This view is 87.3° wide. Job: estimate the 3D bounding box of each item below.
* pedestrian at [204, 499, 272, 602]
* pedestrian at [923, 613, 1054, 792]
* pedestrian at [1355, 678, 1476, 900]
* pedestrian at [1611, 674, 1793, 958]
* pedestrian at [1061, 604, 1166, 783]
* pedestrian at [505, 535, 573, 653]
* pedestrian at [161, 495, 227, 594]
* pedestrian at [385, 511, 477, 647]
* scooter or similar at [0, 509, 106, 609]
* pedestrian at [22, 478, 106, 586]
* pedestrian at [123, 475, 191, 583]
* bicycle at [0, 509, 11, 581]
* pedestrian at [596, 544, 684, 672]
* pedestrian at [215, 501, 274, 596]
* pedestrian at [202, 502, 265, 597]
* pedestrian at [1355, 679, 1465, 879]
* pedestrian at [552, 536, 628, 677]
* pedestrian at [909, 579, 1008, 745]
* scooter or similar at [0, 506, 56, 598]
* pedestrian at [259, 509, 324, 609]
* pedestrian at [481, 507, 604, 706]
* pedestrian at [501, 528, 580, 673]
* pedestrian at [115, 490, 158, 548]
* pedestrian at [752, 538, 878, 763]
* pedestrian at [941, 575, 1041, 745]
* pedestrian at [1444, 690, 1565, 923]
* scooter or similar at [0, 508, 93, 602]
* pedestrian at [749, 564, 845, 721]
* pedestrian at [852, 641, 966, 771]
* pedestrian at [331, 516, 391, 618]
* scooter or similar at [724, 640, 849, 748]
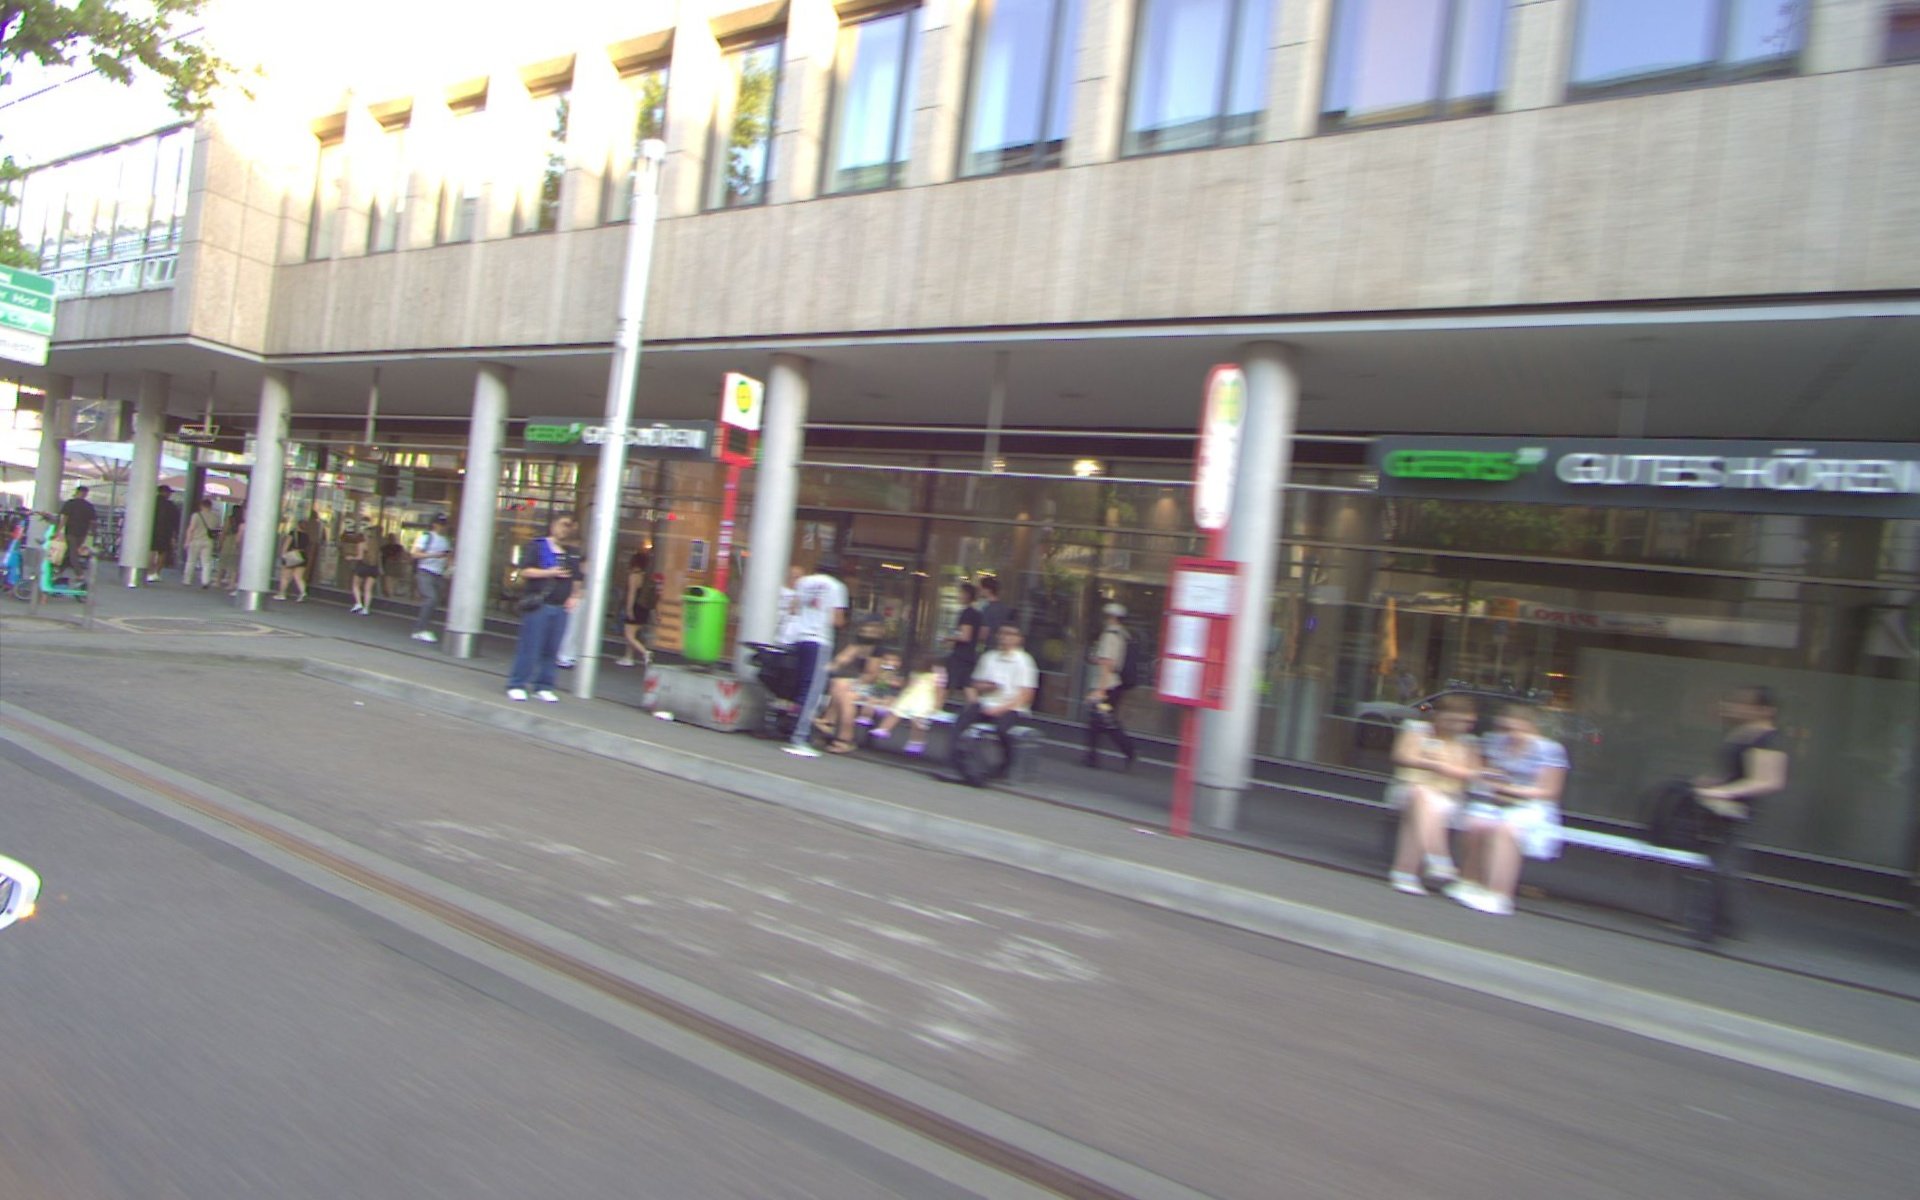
[{"bbox_3d":[-13.472,-0.914,18.774,0.707,1.809,0.663,7,1,31],"label":"pedestrian"},{"bbox_3d":[0.259,0.875,8.673,0.651,1.397,0.814,7,-1,32],"label":"pedestrian"},{"bbox_3d":[3.073,1.234,6.759,0.523,1.330,0.719,7,-1,32],"label":"pedestrian"},{"bbox_3d":[4.693,1.311,6.423,0.724,1.589,0.725,7,1,32],"label":"pedestrian"},{"bbox_3d":[1.559,0.934,10.207,0.669,1.682,0.649,7,1,32],"label":"pedestrian"},{"bbox_3d":[-6.610,-0.088,15.785,0.607,1.753,0.571,7,1,29],"label":"pedestrian"},{"bbox_3d":[-14.906,-1.076,19.583,0.707,1.809,0.663,7,1,31],"label":"pedestrian"},{"bbox_3d":[-7.705,-0.300,14.658,0.865,1.862,0.669,7,1,30],"label":"pedestrian"},{"bbox_3d":[-12.604,-0.546,13.926,0.487,1.267,1.115,7,1,0],"label":"scooter or similar"},{"bbox_3d":[-15.665,-1.181,17.593,0.908,1.740,0.764,6,1,32],"label":"pedestrian"},{"bbox_3d":[-16.117,-1.417,20.192,0.769,2.039,0.687,7,1,31],"label":"pedestrian"},{"bbox_3d":[-16.453,-0.975,15.858,0.712,1.170,1.999,7,1,25],"label":"bicycle"},{"bbox_3d":[-4.766,0.134,14.994,0.761,1.794,0.774,7,1,29],"label":"pedestrian"},{"bbox_3d":[-14.950,-1.067,21.022,0.708,1.871,0.663,7,1,36],"label":"pedestrian"},{"bbox_3d":[-14.622,-1.014,20.241,0.707,1.809,0.663,7,1,31],"label":"pedestrian"},{"bbox_3d":[3.346,1.297,7.456,0.523,1.330,0.719,7,-1,32],"label":"pedestrian"},{"bbox_3d":[-5.001,0.097,13.604,0.594,1.829,0.540,7,1,29],"label":"pedestrian"},{"bbox_3d":[-0.013,0.700,11.542,0.760,1.775,0.583,7,1,29],"label":"pedestrian"},{"bbox_3d":[-13.773,-0.705,14.664,0.388,1.267,1.185,7,1,-21],"label":"scooter or similar"},{"bbox_3d":[-12.857,-0.786,19.346,0.707,1.809,0.663,7,1,31],"label":"pedestrian"},{"bbox_3d":[-4.135,0.070,9.977,0.696,1.862,0.669,7,1,30],"label":"pedestrian"},{"bbox_3d":[-5.543,0.012,13.292,0.594,1.829,0.540,7,1,29],"label":"pedestrian"},{"bbox_3d":[-28.342,-2.777,34.618,0.793,1.845,0.809,8,1,35],"label":"pedestrian"},{"bbox_3d":[-1.280,0.439,8.910,0.656,1.862,0.640,7,1,31],"label":"pedestrian"},{"bbox_3d":[0.379,0.711,12.082,0.760,1.906,0.688,7,1,29],"label":"pedestrian"},{"bbox_3d":[3.509,1.281,6.466,0.516,1.330,0.719,7,-1,32],"label":"pedestrian"},{"bbox_3d":[-13.157,-0.623,14.370,0.386,1.267,1.191,7,1,1],"label":"scooter or similar"},{"bbox_3d":[-1.853,0.484,11.450,0.639,1.682,0.649,7,1,31],"label":"pedestrian"},{"bbox_3d":[-0.444,0.947,9.028,0.535,1.054,0.814,7,-1,32],"label":"pedestrian"},{"bbox_3d":[-10.883,-0.597,18.291,0.607,1.753,0.571,7,1,29],"label":"pedestrian"},{"bbox_3d":[-1.651,0.902,9.586,0.678,0.894,0.832,6,-3,44],"label":"scooter or similar"}]
